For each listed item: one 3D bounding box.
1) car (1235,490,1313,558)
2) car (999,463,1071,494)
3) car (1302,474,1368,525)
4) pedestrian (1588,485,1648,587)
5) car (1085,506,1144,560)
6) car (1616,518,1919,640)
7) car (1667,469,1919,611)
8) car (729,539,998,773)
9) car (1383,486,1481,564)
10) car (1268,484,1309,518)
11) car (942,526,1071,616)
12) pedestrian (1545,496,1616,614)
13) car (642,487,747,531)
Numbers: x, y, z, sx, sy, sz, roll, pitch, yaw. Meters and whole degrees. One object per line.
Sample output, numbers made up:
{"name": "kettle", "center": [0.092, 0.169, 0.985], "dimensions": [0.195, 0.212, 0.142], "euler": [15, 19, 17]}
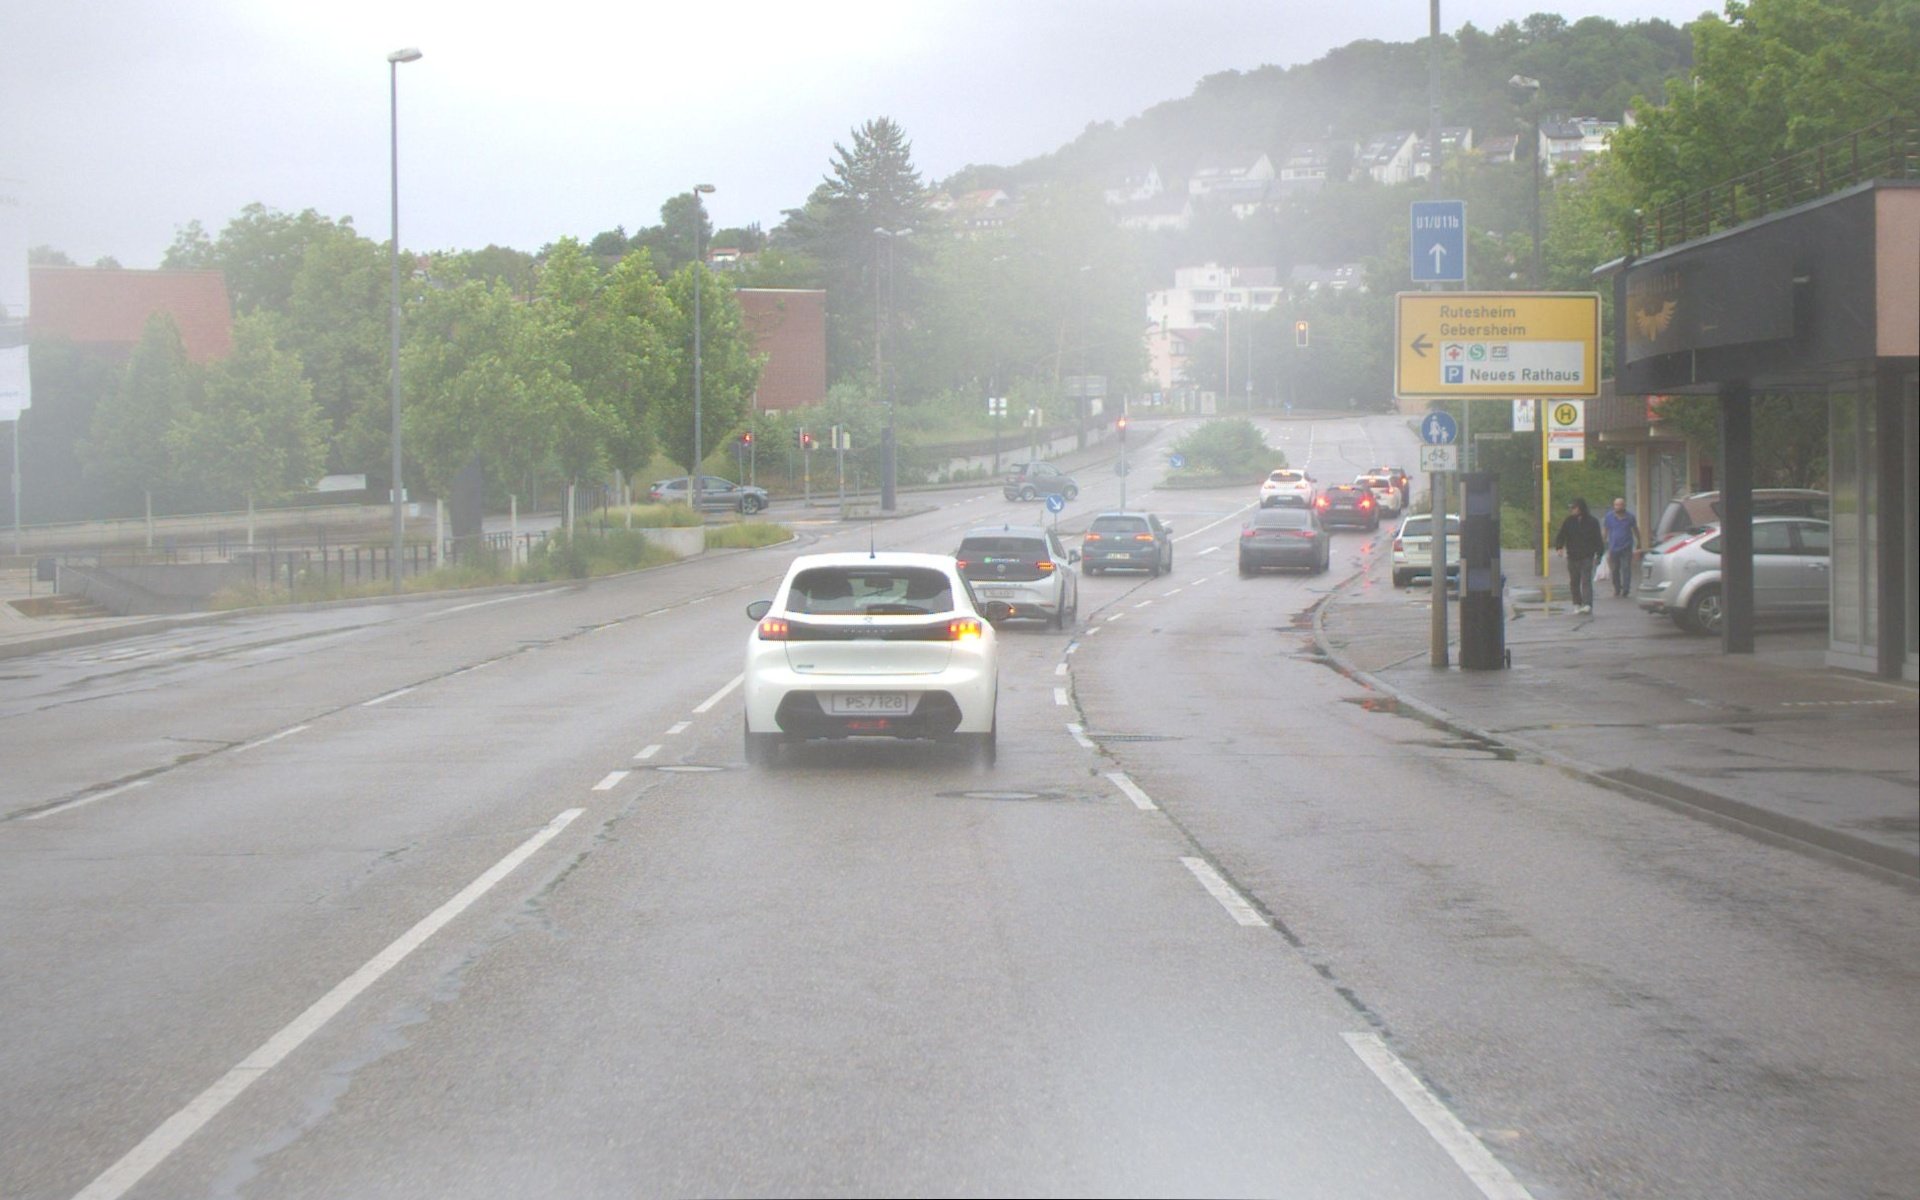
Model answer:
{"name": "car", "center": [7.325, -1.795, 80.402], "dimensions": [1.734, 1.383, 3.352], "euler": [1, 4, 4]}
{"name": "car", "center": [2.948, -4.769, 135.120], "dimensions": [2.418, 1.153, 1.371], "euler": [-1, 0, -27]}
{"name": "car", "center": [11.993, -3.199, 110.045], "dimensions": [1.647, 1.480, 3.366], "euler": [-1, 0, -1]}
{"name": "pedestrian", "center": [11.429, -1.113, 59.721], "dimensions": [0.875, 1.731, 0.760], "euler": [-2, 2, 2]}
{"name": "car", "center": [3.506, -1.511, 77.660], "dimensions": [1.213, 1.152, 2.270], "euler": [-1, 0, 5]}
{"name": "car", "center": [10.596, -0.283, 44.372], "dimensions": [3.987, 1.442, 1.746], "euler": [-1, 2, 5]}
{"name": "car", "center": [12.039, -0.856, 47.784], "dimensions": [4.095, 1.864, 1.876], "euler": [-1, 2, 5]}
{"name": "car", "center": [-0.608, 0.361, 24.353], "dimensions": [1.691, 1.514, 3.933], "euler": [0, 0, 1]}
{"name": "car", "center": [9.920, -1.596, 72.039], "dimensions": [1.731, 1.492, 4.479], "euler": [-2, 2, 11]}
{"name": "car", "center": [11.795, -3.542, 123.503], "dimensions": [1.385, 1.123, 2.609], "euler": [-1, 0, 5]}
{"name": "car", "center": [0.739, -0.453, 52.025], "dimensions": [1.741, 1.291, 3.333], "euler": [-1, 1, 4]}
{"name": "pedestrian", "center": [9.665, -0.702, 53.573], "dimensions": [0.708, 1.815, 0.797], "euler": [-1, 0, -26]}
{"name": "car", "center": [-10.042, -3.431, 130.026], "dimensions": [3.514, 1.564, 1.801], "euler": [-1, 0, -25]}
